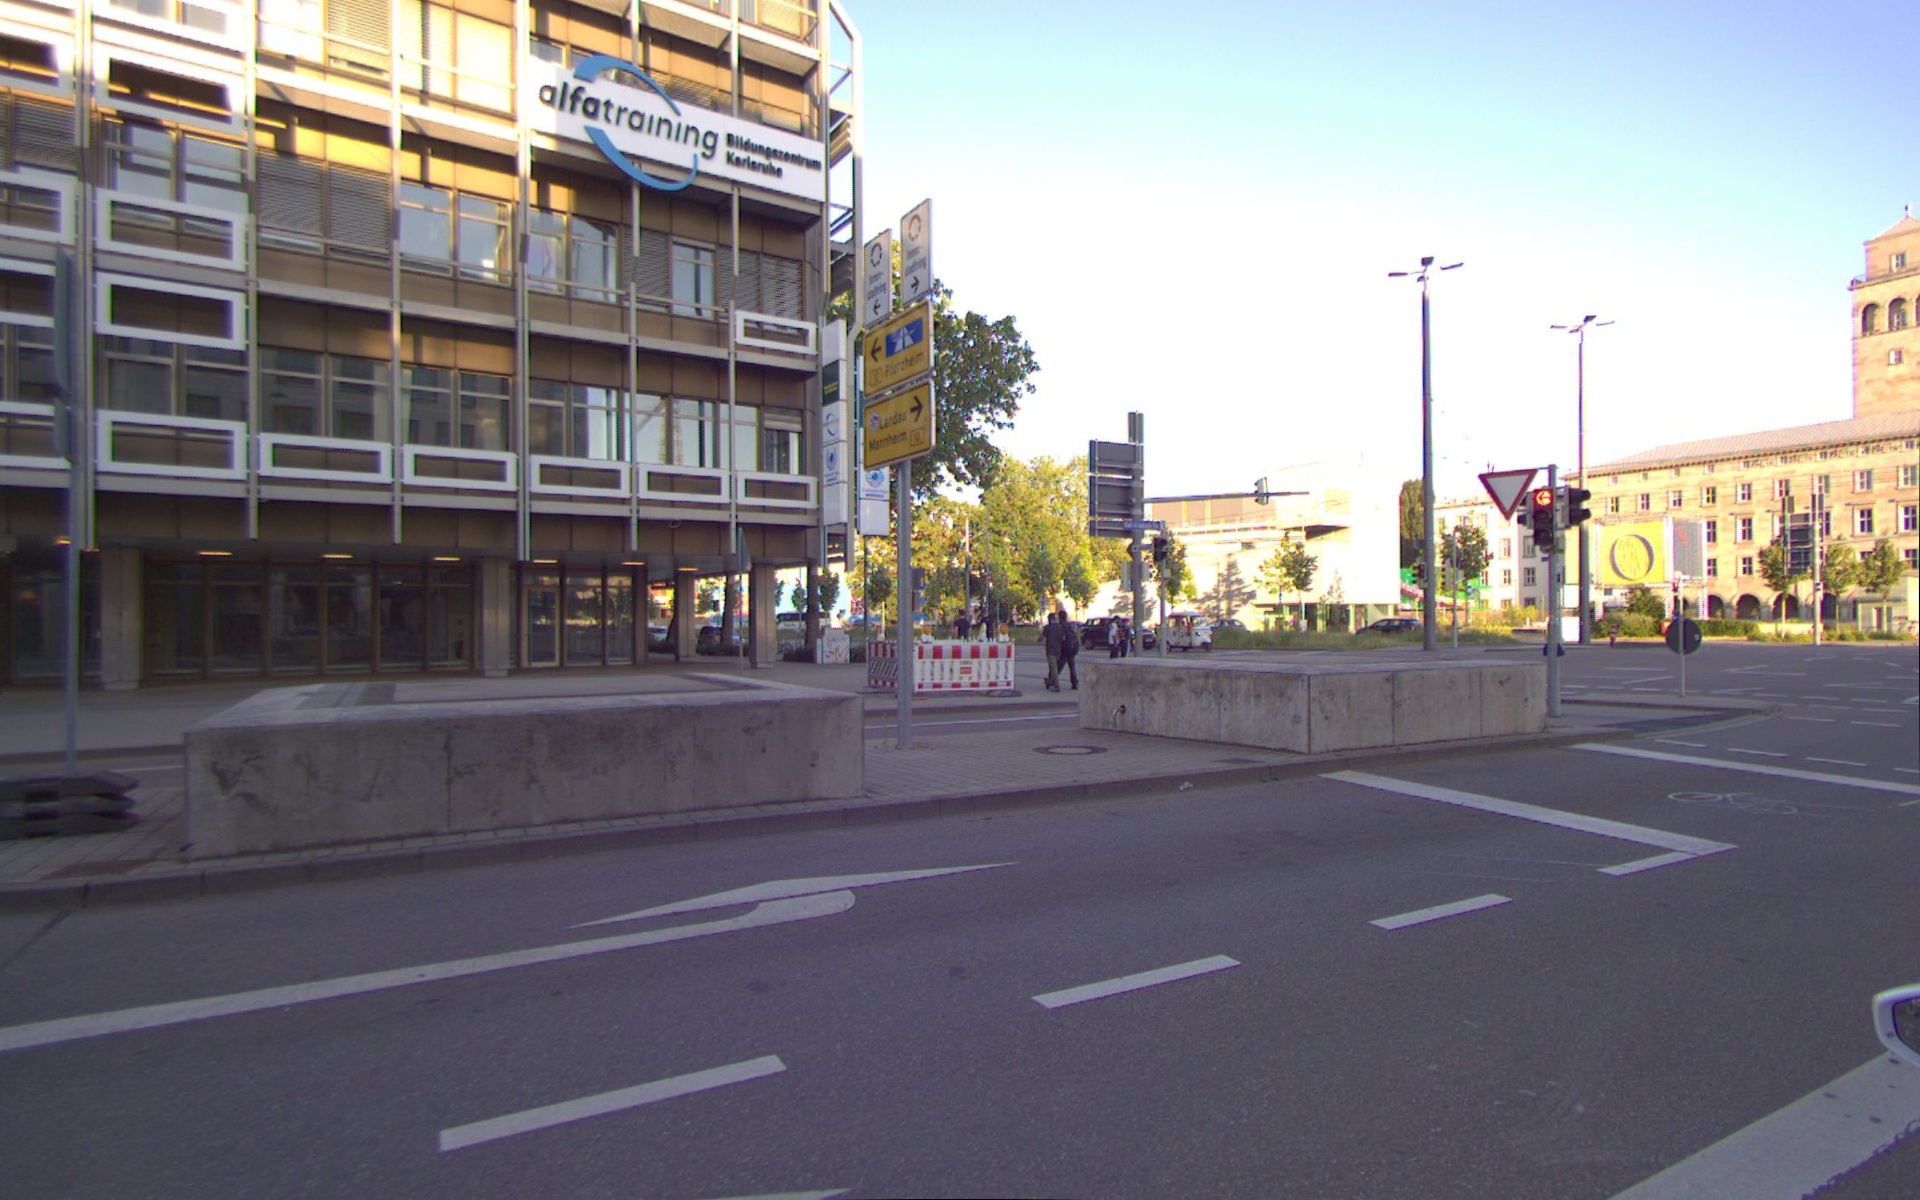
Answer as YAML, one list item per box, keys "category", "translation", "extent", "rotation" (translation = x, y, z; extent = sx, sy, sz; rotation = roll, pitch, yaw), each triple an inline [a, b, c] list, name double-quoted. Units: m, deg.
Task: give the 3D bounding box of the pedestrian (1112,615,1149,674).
- category: "pedestrian"
  translation: [5.298, 1.387, 31.189]
  extent: [0.850, 1.800, 0.738]
  rotation: [-4, -4, 36]

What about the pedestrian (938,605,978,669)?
- category: "pedestrian"
  translation: [-0.058, 1.061, 28.757]
  extent: [0.852, 1.800, 0.736]
  rotation: [0, -3, -25]

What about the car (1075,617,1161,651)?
- category: "car"
  translation: [7.667, 1.640, 49.061]
  extent: [1.681, 1.613, 4.150]
  rotation: [0, -1, -37]

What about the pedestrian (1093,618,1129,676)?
- category: "pedestrian"
  translation: [4.794, 1.483, 31.862]
  extent: [0.849, 1.800, 0.738]
  rotation: [-4, -4, 34]

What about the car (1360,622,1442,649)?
- category: "car"
  translation: [24.711, 1.968, 56.351]
  extent: [1.533, 1.472, 3.943]
  rotation: [0, -1, -40]

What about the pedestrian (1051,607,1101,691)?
- category: "pedestrian"
  translation: [2.573, 1.063, 22.288]
  extent: [0.855, 1.800, 0.733]
  rotation: [0, 0, -35]

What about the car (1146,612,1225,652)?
- category: "car"
  translation: [10.129, 1.424, 45.264]
  extent: [1.600, 1.707, 3.102]
  rotation: [0, -1, -43]

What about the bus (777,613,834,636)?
- category: "bus"
  translation: [-20.382, 3.214, 131.912]
  extent: [3.188, 2.948, 10.423]
  rotation: [0, -1, -35]

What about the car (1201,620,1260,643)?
- category: "car"
  translation: [17.846, 2.064, 66.402]
  extent: [1.530, 1.472, 3.689]
  rotation: [0, -1, -35]

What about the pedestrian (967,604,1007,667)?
- category: "pedestrian"
  translation: [0.768, 1.036, 29.145]
  extent: [0.853, 1.800, 0.735]
  rotation: [0, -3, -30]

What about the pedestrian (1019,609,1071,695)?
- category: "pedestrian"
  translation: [1.820, 1.090, 21.588]
  extent: [0.858, 1.800, 0.731]
  rotation: [0, 0, -44]
